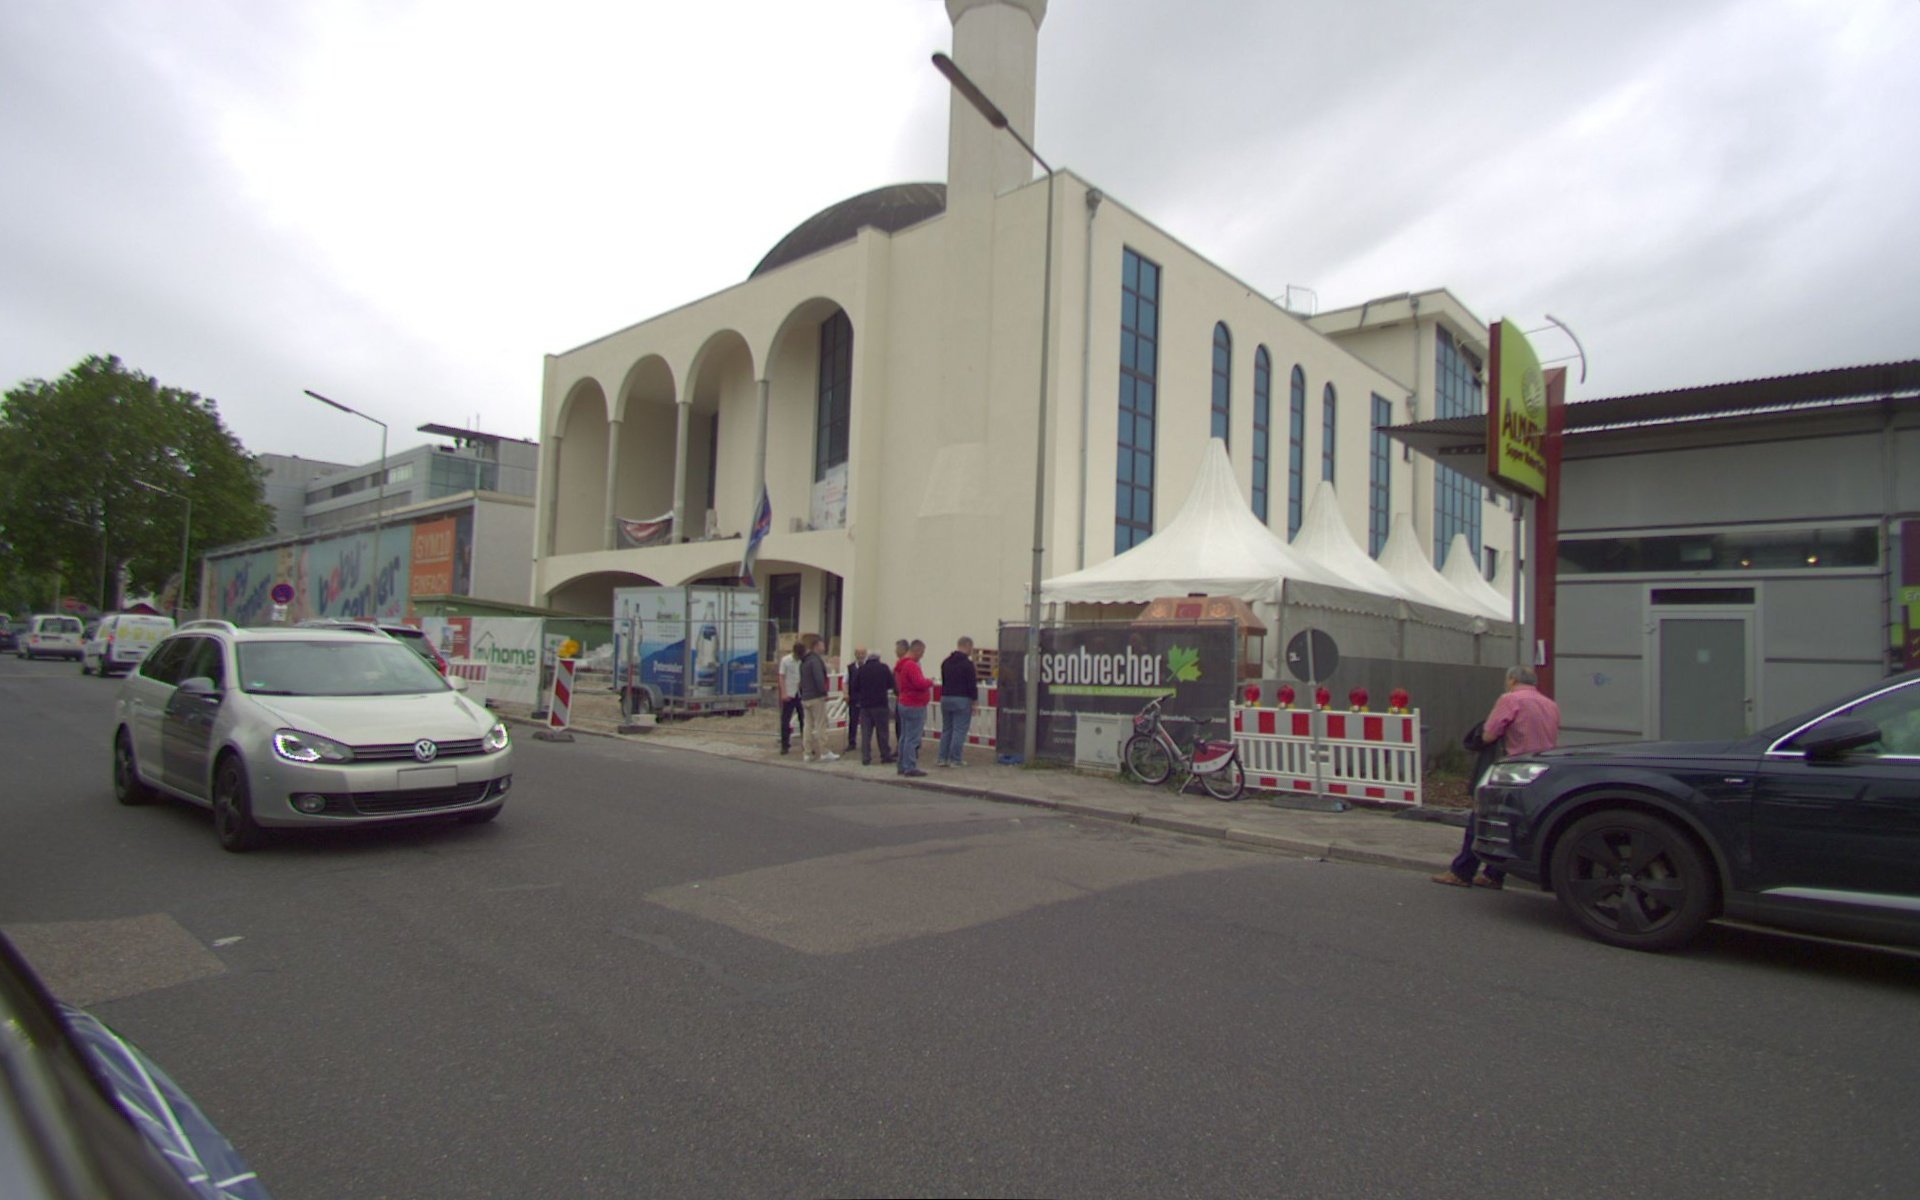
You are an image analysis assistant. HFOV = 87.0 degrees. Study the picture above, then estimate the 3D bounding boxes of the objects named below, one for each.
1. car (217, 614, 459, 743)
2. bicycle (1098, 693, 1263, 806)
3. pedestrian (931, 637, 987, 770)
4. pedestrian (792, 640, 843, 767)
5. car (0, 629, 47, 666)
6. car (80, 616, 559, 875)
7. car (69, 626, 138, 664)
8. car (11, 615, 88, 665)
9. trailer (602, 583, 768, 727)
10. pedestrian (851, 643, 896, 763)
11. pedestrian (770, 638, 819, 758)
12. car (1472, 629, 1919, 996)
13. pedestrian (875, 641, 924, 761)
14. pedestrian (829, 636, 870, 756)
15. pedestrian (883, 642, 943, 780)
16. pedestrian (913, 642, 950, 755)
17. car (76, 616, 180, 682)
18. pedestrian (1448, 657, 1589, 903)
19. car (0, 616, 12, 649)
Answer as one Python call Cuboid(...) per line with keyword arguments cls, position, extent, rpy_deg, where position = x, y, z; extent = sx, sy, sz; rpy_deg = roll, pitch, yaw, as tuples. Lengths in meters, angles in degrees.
Cuboid(cls="car", position=(-9.683, 1.143, 15.601), extent=(4.494, 1.697, 1.912), rpy_deg=(-1, -5, 42))
Cuboid(cls="bicycle", position=(2.517, 1.678, 11.738), extent=(0.537, 1.086, 1.904), rpy_deg=(4, -3, -41))
Cuboid(cls="pedestrian", position=(-0.015, 1.385, 13.737), extent=(0.686, 1.731, 0.687), rpy_deg=(-2, -3, 0))
Cuboid(cls="pedestrian", position=(-2.057, 1.478, 14.612), extent=(0.680, 1.763, 0.491), rpy_deg=(-1, -3, -8))
Cuboid(cls="car", position=(-44.229, 2.220, 47.445), extent=(3.947, 1.583, 1.710), rpy_deg=(-1, -6, 43))
Cuboid(cls="car", position=(-5.077, 0.893, 7.795), extent=(4.291, 1.462, 1.736), rpy_deg=(-1, -4, 38))
Cuboid(cls="car", position=(-40.339, 2.104, 47.630), extent=(4.150, 1.586, 1.903), rpy_deg=(-1, -8, 44))
Cuboid(cls="car", position=(-37.044, 1.616, 41.144), extent=(4.383, 1.821, 1.775), rpy_deg=(0, -5, 42))
Cuboid(cls="trailer", position=(-5.531, 1.085, 20.223), extent=(1.777, 2.627, 3.193), rpy_deg=(6, -5, -44))
Cuboid(cls="pedestrian", position=(-1.221, 1.431, 14.205), extent=(0.562, 1.624, 0.491), rpy_deg=(-1, -3, -9))
Cuboid(cls="pedestrian", position=(-2.513, 1.477, 15.386), extent=(0.680, 1.763, 0.491), rpy_deg=(-1, -3, -8))
Cuboid(cls="car", position=(5.451, 1.103, 5.158), extent=(4.730, 1.704, 1.845), rpy_deg=(-1, -8, 44))
Cuboid(cls="pedestrian", position=(-0.885, 1.455, 14.723), extent=(0.568, 1.706, 0.409), rpy_deg=(-3, -3, 16))
Cuboid(cls="pedestrian", position=(-1.672, 1.439, 15.312), extent=(0.521, 1.763, 0.490), rpy_deg=(-2, -3, 1))
Cuboid(cls="pedestrian", position=(-0.599, 1.395, 12.948), extent=(0.512, 1.706, 0.527), rpy_deg=(-4, -4, 32))
Cuboid(cls="pedestrian", position=(-0.427, 1.462, 15.222), extent=(0.484, 1.623, 0.540), rpy_deg=(1, 2, 3))
Cuboid(cls="car", position=(-24.332, 1.408, 29.561), extent=(4.134, 1.774, 1.671), rpy_deg=(-1, -5, 42))
Cuboid(cls="pedestrian", position=(4.045, 1.275, 7.366), extent=(0.667, 1.634, 0.652), rpy_deg=(4, -6, 7))
Cuboid(cls="car", position=(-62.226, 2.037, 64.778), extent=(4.956, 2.029, 1.905), rpy_deg=(0, -4, 44))
